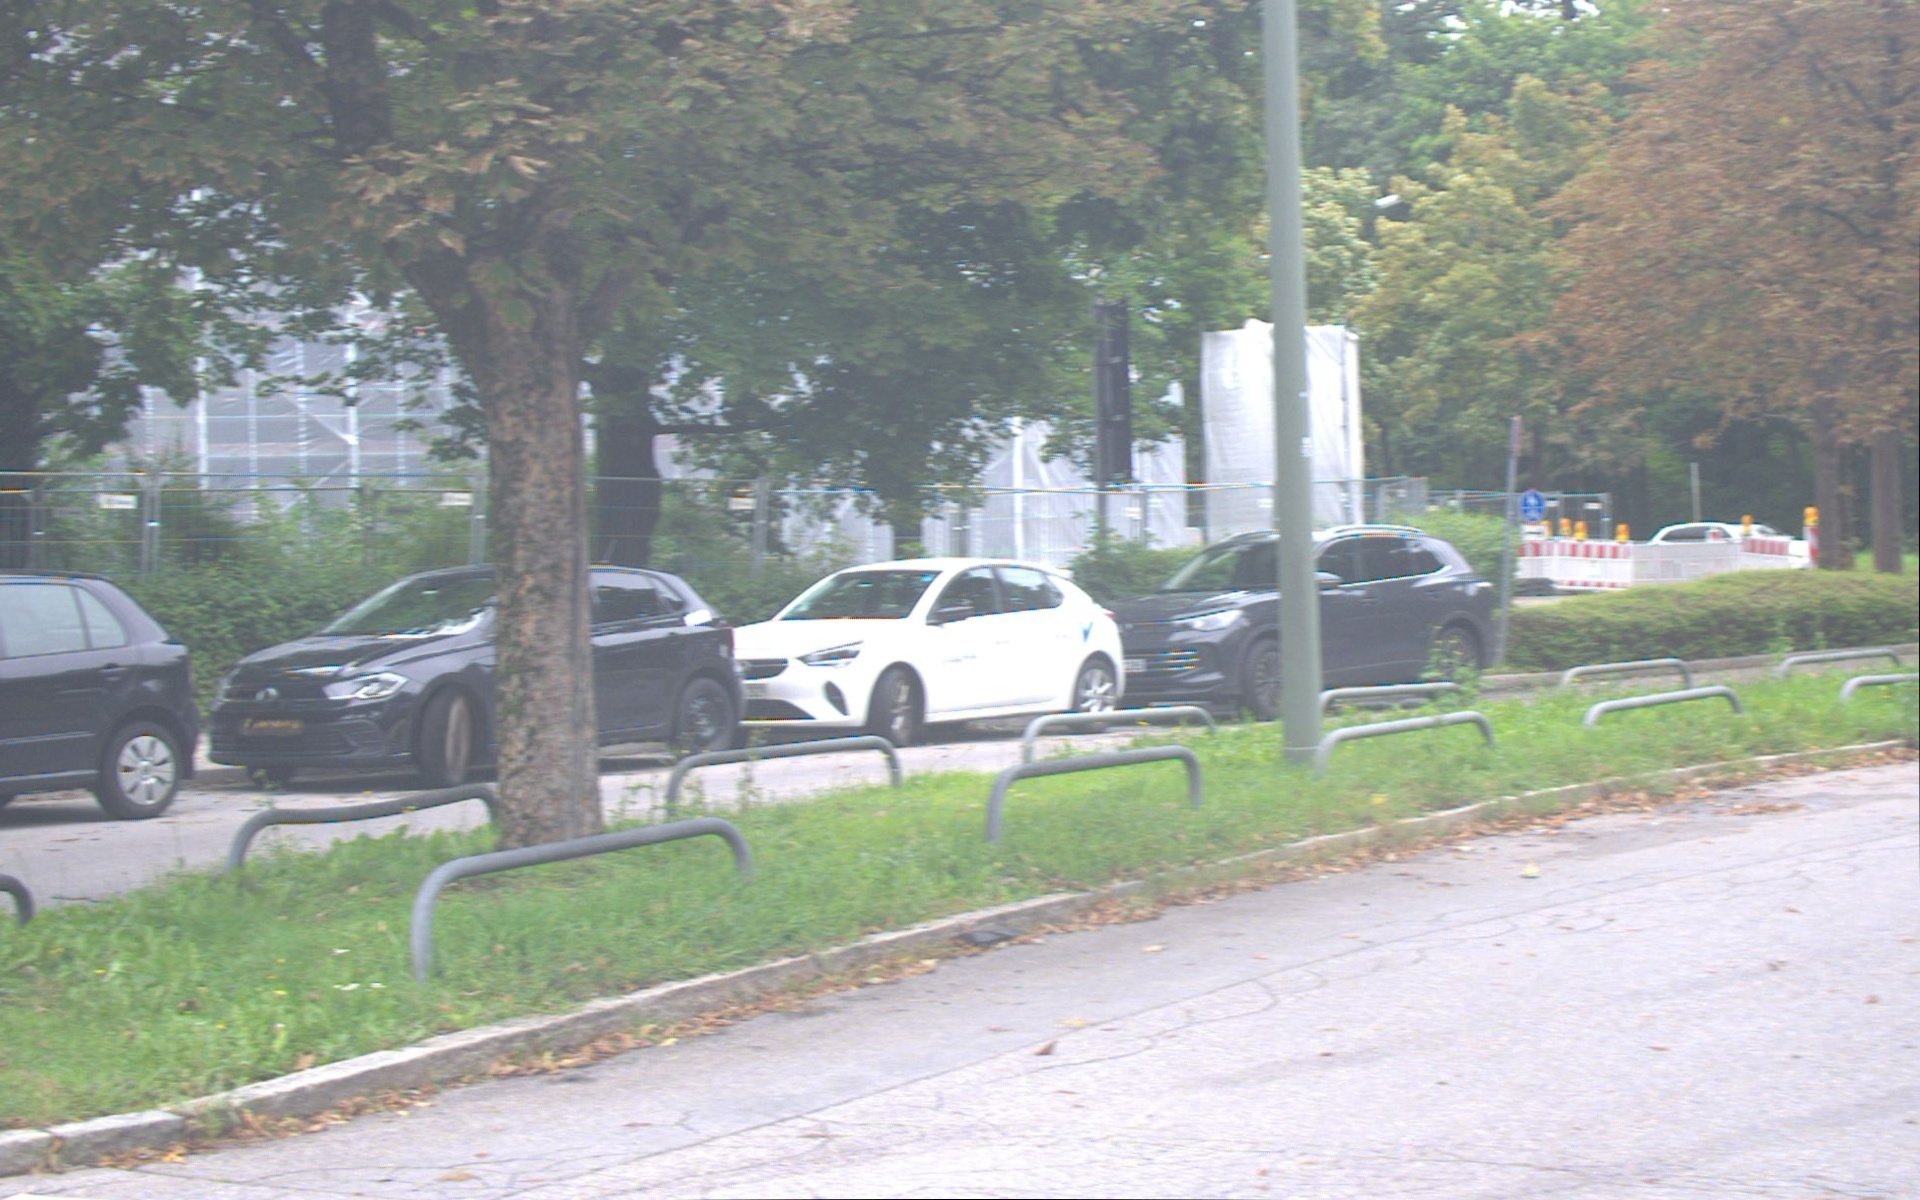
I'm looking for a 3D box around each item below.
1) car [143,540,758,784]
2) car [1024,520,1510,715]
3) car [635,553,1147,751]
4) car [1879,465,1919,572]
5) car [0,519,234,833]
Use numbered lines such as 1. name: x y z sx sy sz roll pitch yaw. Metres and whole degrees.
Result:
1. car: -3.327 0.372 23.142 1.838 1.456 3.998 -2 0 34
2. car: 2.778 0.161 30.417 1.890 1.601 4.384 -2 -1 45
3. car: -0.456 0.374 27.042 1.800 1.379 4.210 -2 0 36
4. car: 19.477 -1.566 64.047 1.994 2.007 4.156 -2 1 -37
5. car: -6.196 0.409 19.019 1.997 1.700 3.992 1 2 34
